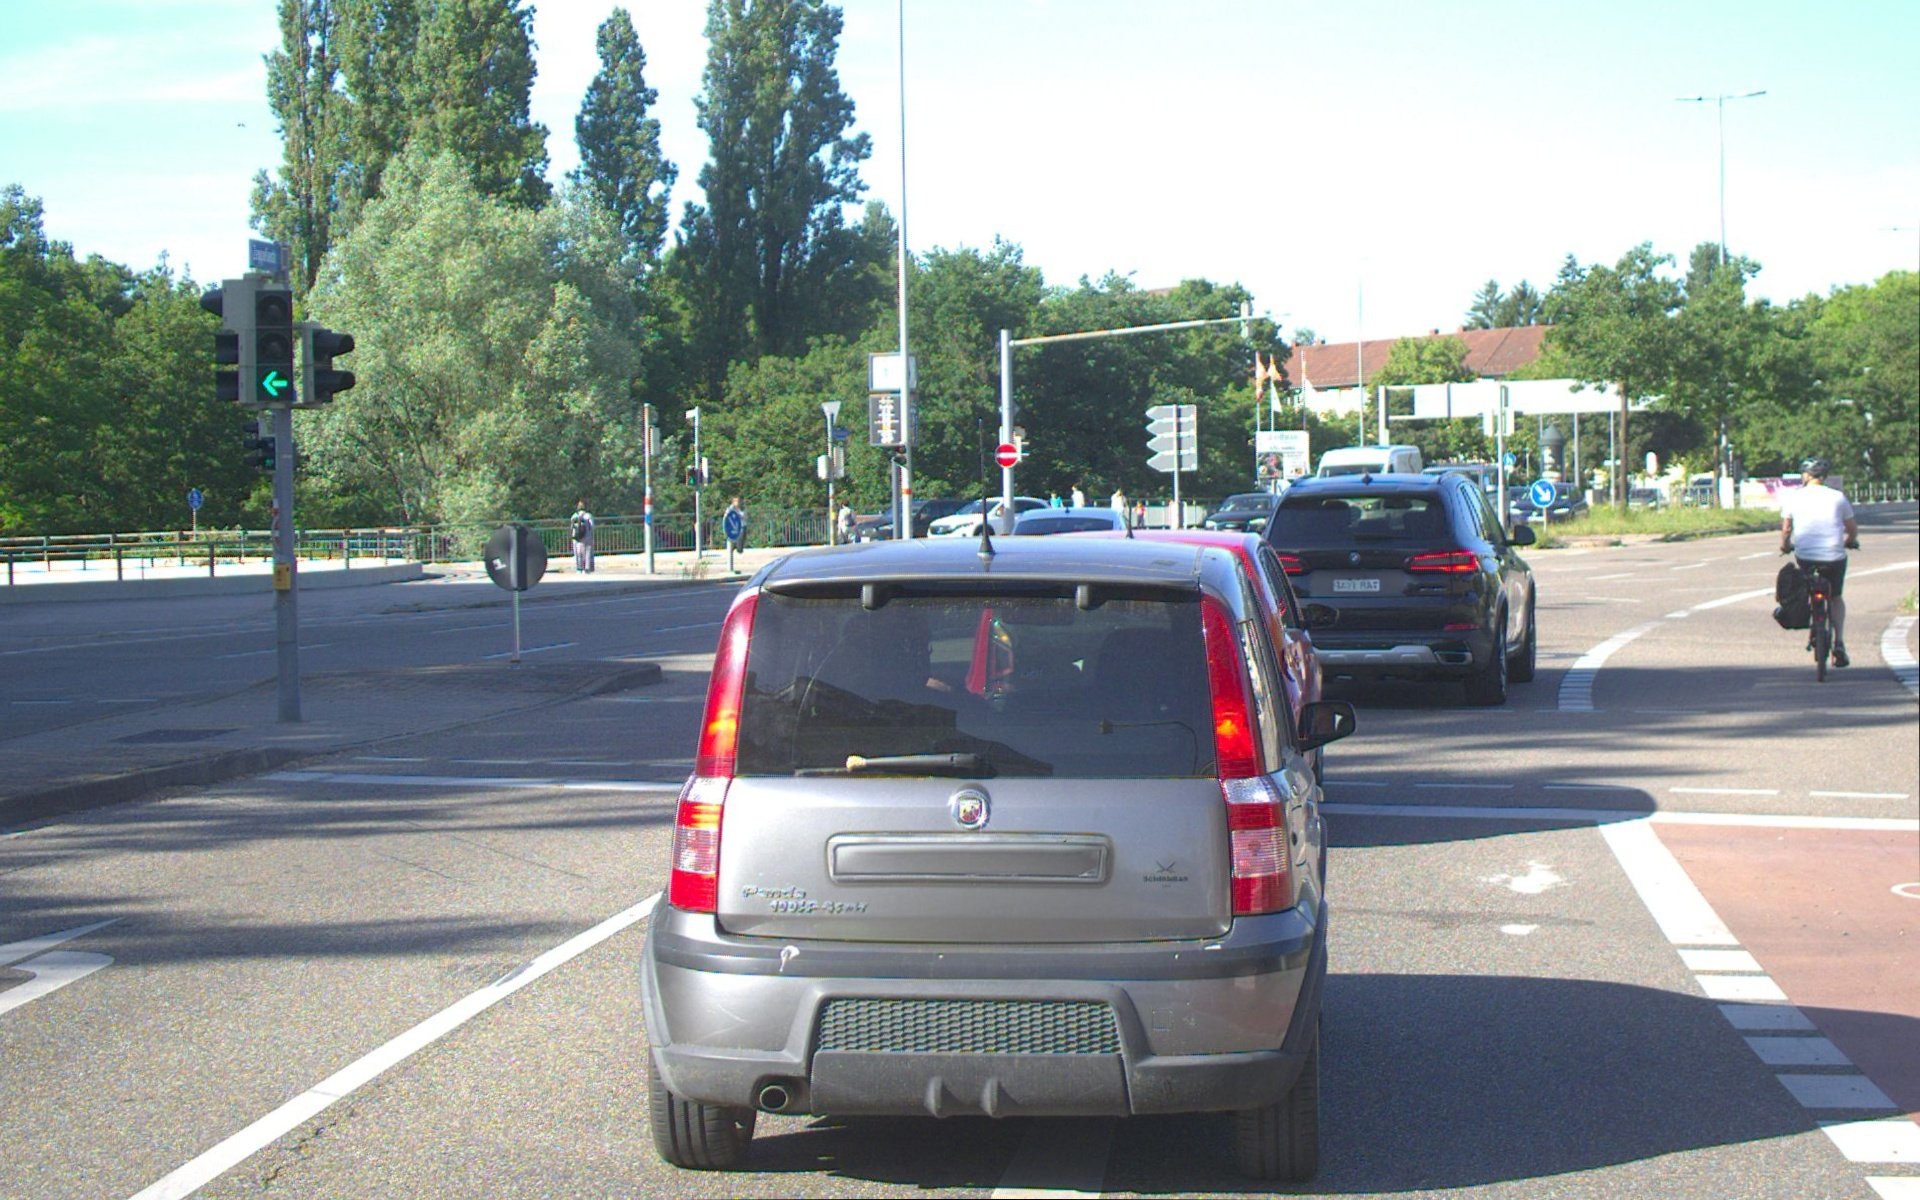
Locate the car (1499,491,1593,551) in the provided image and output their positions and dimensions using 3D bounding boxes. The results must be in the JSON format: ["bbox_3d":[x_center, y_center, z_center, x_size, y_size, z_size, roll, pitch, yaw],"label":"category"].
[{"bbox_3d":[16.729,-2.261,98.019,1.938,1.616,4.502,0,2,19],"label":"car"}]

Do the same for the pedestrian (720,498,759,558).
[{"bbox_3d":[-5.761,-1.881,89.824,0.709,1.542,0.728,-2,0,-36],"label":"pedestrian"}]

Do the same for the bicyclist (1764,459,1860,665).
[{"bbox_3d":[6.999,-0.325,28.214,0.724,1.654,1.112,1,2,15],"label":"bicyclist"}]

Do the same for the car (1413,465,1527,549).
[{"bbox_3d":[12.686,-2.342,85.281,1.938,2.001,4.927,0,2,19],"label":"car"}]

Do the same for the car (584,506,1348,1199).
[{"bbox_3d":[0.214,0.527,9.418,1.618,1.510,3.819,1,2,7],"label":"car"}]

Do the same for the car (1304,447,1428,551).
[{"bbox_3d":[10.557,-2.637,88.903,1.938,2.567,6.083,0,2,19],"label":"car"}]

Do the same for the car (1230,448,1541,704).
[{"bbox_3d":[3.406,-0.236,26.879,1.946,1.833,4.150,0,2,13],"label":"car"}]

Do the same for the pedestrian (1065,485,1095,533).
[{"bbox_3d":[4.136,-3.142,118.613,0.791,1.658,0.628,1,0,41],"label":"pedestrian"}]

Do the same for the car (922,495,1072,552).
[{"bbox_3d":[1.086,-2.243,100.172,4.317,1.530,1.784,-3,4,-42],"label":"car"}]

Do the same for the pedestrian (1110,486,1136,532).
[{"bbox_3d":[5.834,-3.267,123.337,0.721,1.635,0.672,1,0,24],"label":"pedestrian"}]

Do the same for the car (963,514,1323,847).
[{"bbox_3d":[1.033,0.324,17.712,1.618,1.458,3.750,1,2,6],"label":"car"}]

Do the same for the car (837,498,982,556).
[{"bbox_3d":[-1.498,-2.153,102.244,3.988,1.620,1.900,1,0,-40],"label":"car"}]

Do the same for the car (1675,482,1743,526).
[{"bbox_3d":[28.656,-3.676,131.393,1.938,1.616,4.501,0,2,20],"label":"car"}]

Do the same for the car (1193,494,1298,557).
[{"bbox_3d":[7.497,-1.971,90.065,1.938,1.502,3.997,-2,2,16],"label":"car"}]

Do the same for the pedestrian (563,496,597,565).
[{"bbox_3d":[-8.048,-1.476,72.889,0.679,1.458,0.703,-1,2,-7],"label":"pedestrian"}]

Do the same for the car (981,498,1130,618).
[{"bbox_3d":[1.170,-0.565,43.561,1.780,1.410,4.319,-1,2,0],"label":"car"}]

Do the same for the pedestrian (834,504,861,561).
[{"bbox_3d":[-3.105,-1.861,94.978,0.556,1.542,0.576,-2,0,-17],"label":"pedestrian"}]

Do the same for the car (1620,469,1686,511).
[{"bbox_3d":[31.786,-5.021,157.539,1.996,1.809,3.994,1,0,26],"label":"car"}]

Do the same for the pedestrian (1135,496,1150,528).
[{"bbox_3d":[6.534,-3.146,123.096,0.424,1.132,0.397,1,0,24],"label":"pedestrian"}]

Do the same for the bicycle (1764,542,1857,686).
[{"bbox_3d":[7.009,0.095,28.285,0.692,1.098,1.825,1,2,15],"label":"bicycle"}]

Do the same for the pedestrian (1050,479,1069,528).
[{"bbox_3d":[3.450,-3.362,119.355,0.499,1.696,0.499,1,0,23],"label":"pedestrian"}]
